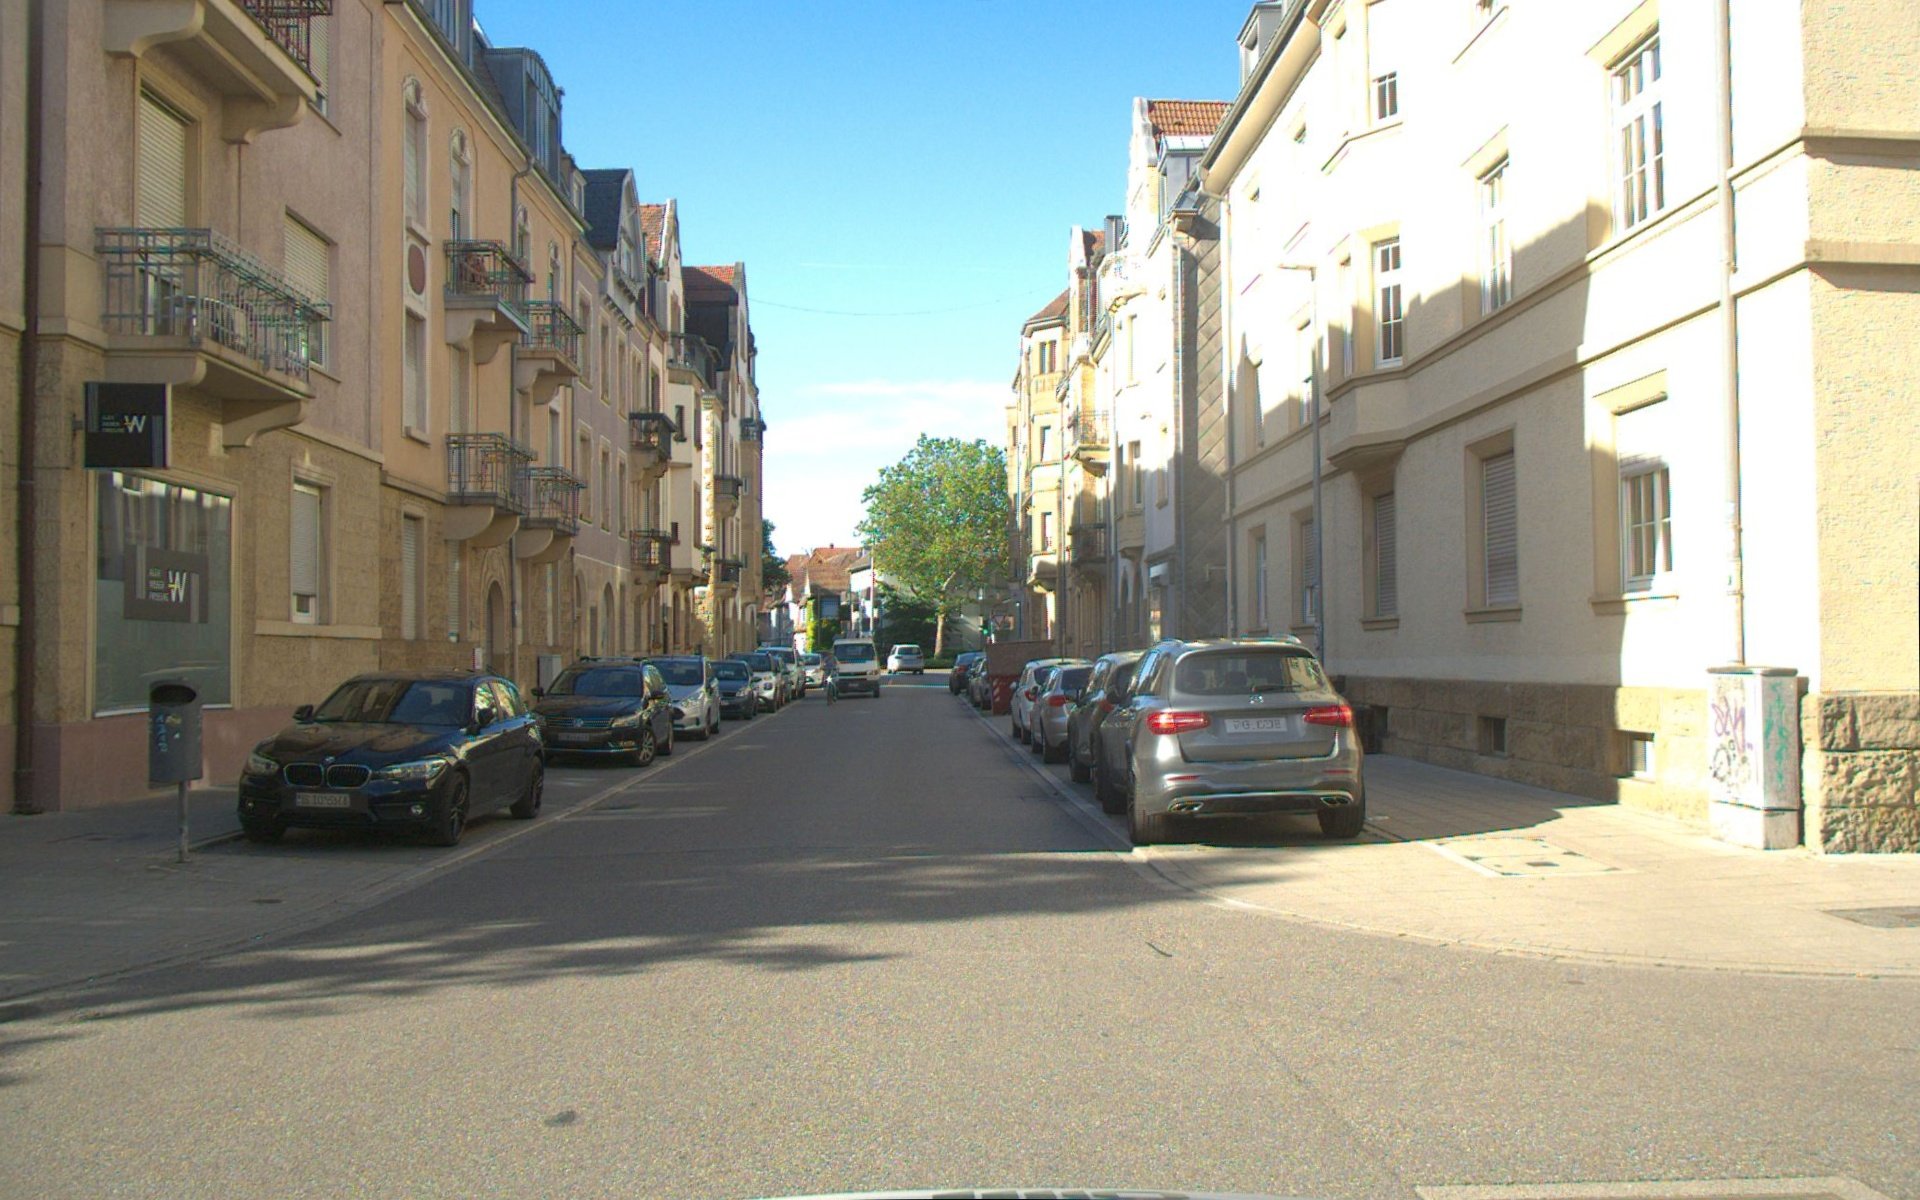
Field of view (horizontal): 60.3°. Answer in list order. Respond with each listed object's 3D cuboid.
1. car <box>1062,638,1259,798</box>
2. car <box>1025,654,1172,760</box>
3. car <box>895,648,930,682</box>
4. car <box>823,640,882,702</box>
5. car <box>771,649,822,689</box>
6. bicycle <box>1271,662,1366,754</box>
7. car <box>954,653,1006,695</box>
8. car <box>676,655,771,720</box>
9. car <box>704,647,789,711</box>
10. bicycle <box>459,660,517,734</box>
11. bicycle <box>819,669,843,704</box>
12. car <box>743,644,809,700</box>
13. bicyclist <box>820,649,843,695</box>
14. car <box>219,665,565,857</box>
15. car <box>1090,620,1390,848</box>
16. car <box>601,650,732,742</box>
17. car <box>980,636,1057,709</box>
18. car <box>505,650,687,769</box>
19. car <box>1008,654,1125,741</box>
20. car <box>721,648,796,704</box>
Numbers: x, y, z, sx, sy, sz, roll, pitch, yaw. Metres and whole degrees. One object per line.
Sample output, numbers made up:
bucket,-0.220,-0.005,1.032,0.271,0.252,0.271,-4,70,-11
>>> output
car,2.253,1.370,19.615,1.710,1.636,4.026,-2,-3,-1
car,2.064,1.645,25.669,1.801,1.457,4.026,-2,-3,-1
car,-2.837,3.875,98.151,1.963,1.947,4.484,2,-3,-2
car,-3.748,2.503,58.367,1.963,2.035,4.484,2,-3,-3
car,-7.172,3.032,72.771,1.963,1.634,4.484,2,-3,-3
bicycle,5.274,1.562,24.481,0.746,1.268,2.590,0,-2,-2
car,0.728,2.841,62.621,1.801,1.457,4.026,-2,-4,-1
car,-5.907,2.185,41.760,1.939,1.509,4.324,2,-3,-3
car,-5.932,2.220,46.469,1.963,1.647,4.484,2,-3,-3
bicycle,-8.733,1.778,30.651,0.530,1.324,1.866,0,-2,-1
bicycle,-3.983,2.673,51.223,0.649,1.037,2.065,-2,-2,-3
car,-6.363,2.494,57.535,1.963,1.820,4.484,2,-3,-3
bicyclist,-3.988,2.231,51.259,0.649,1.410,0.753,-2,-3,-3
car,-4.955,1.358,15.104,1.645,1.452,4.272,2,-3,0
car,2.320,1.152,15.000,1.874,1.674,4.772,-2,-3,0
car,-5.733,1.877,32.842,1.963,1.647,4.484,2,-3,-3
car,1.502,1.953,43.842,1.801,1.818,4.026,-1,-4,-1
car,-5.473,1.639,25.466,1.963,1.610,4.484,2,-3,-3
car,1.935,1.830,31.053,1.801,1.457,4.026,-2,-3,-1
car,-6.285,2.382,51.958,1.963,1.647,4.484,2,-3,-3
